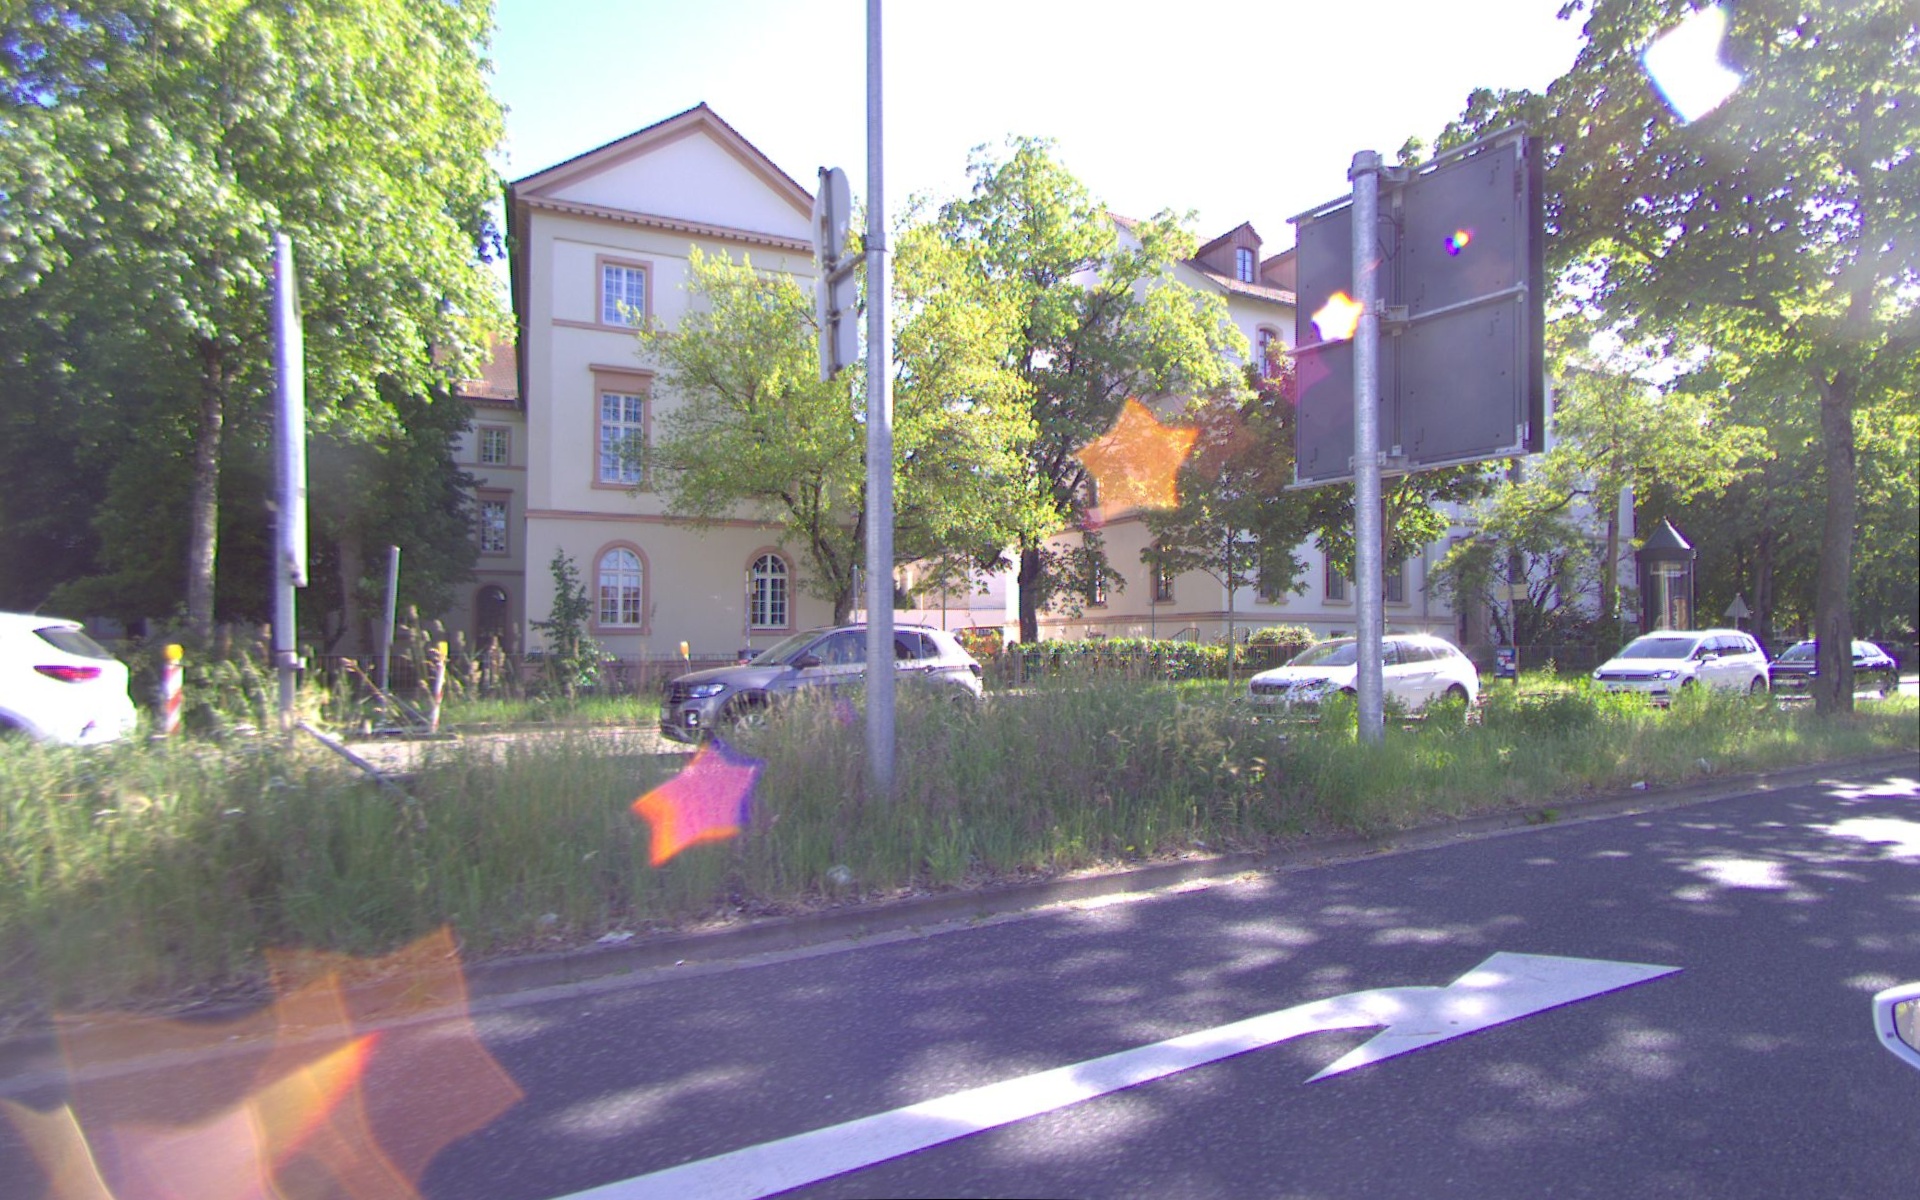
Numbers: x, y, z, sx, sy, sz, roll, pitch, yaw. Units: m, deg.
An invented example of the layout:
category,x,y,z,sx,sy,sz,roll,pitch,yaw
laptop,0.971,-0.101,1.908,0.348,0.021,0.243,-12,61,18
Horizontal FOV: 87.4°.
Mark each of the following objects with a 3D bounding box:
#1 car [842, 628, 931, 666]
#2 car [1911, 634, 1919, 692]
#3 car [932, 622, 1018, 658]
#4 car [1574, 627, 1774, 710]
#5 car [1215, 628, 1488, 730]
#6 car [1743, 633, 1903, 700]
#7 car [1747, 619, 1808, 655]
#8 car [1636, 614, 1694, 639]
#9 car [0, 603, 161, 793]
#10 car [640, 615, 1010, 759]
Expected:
category,x,y,z,sx,sy,sz,roll,pitch,yaw
car,-4.245,2.707,58.150,4.726,1.982,1.988,-1,-2,-25
car,27.778,1.697,27.362,4.209,1.539,1.630,1,-3,-31
car,0.906,2.403,60.463,4.726,1.982,1.988,-1,-2,-25
car,15.574,1.460,21.874,4.485,1.647,1.892,2,-3,-31
car,6.705,1.266,17.105,4.609,1.539,1.831,1,-2,-29
car,21.363,1.653,24.844,4.040,1.538,1.787,3,-4,-31
car,61.495,2.759,75.566,4.926,2.354,1.838,5,-3,-29
car,49.850,1.844,71.025,3.952,1.509,1.838,5,-3,-29
car,-9.403,0.789,8.238,4.209,1.539,1.787,1,-2,-31
car,-1.638,1.041,12.580,4.208,1.539,1.787,3,-2,-30
